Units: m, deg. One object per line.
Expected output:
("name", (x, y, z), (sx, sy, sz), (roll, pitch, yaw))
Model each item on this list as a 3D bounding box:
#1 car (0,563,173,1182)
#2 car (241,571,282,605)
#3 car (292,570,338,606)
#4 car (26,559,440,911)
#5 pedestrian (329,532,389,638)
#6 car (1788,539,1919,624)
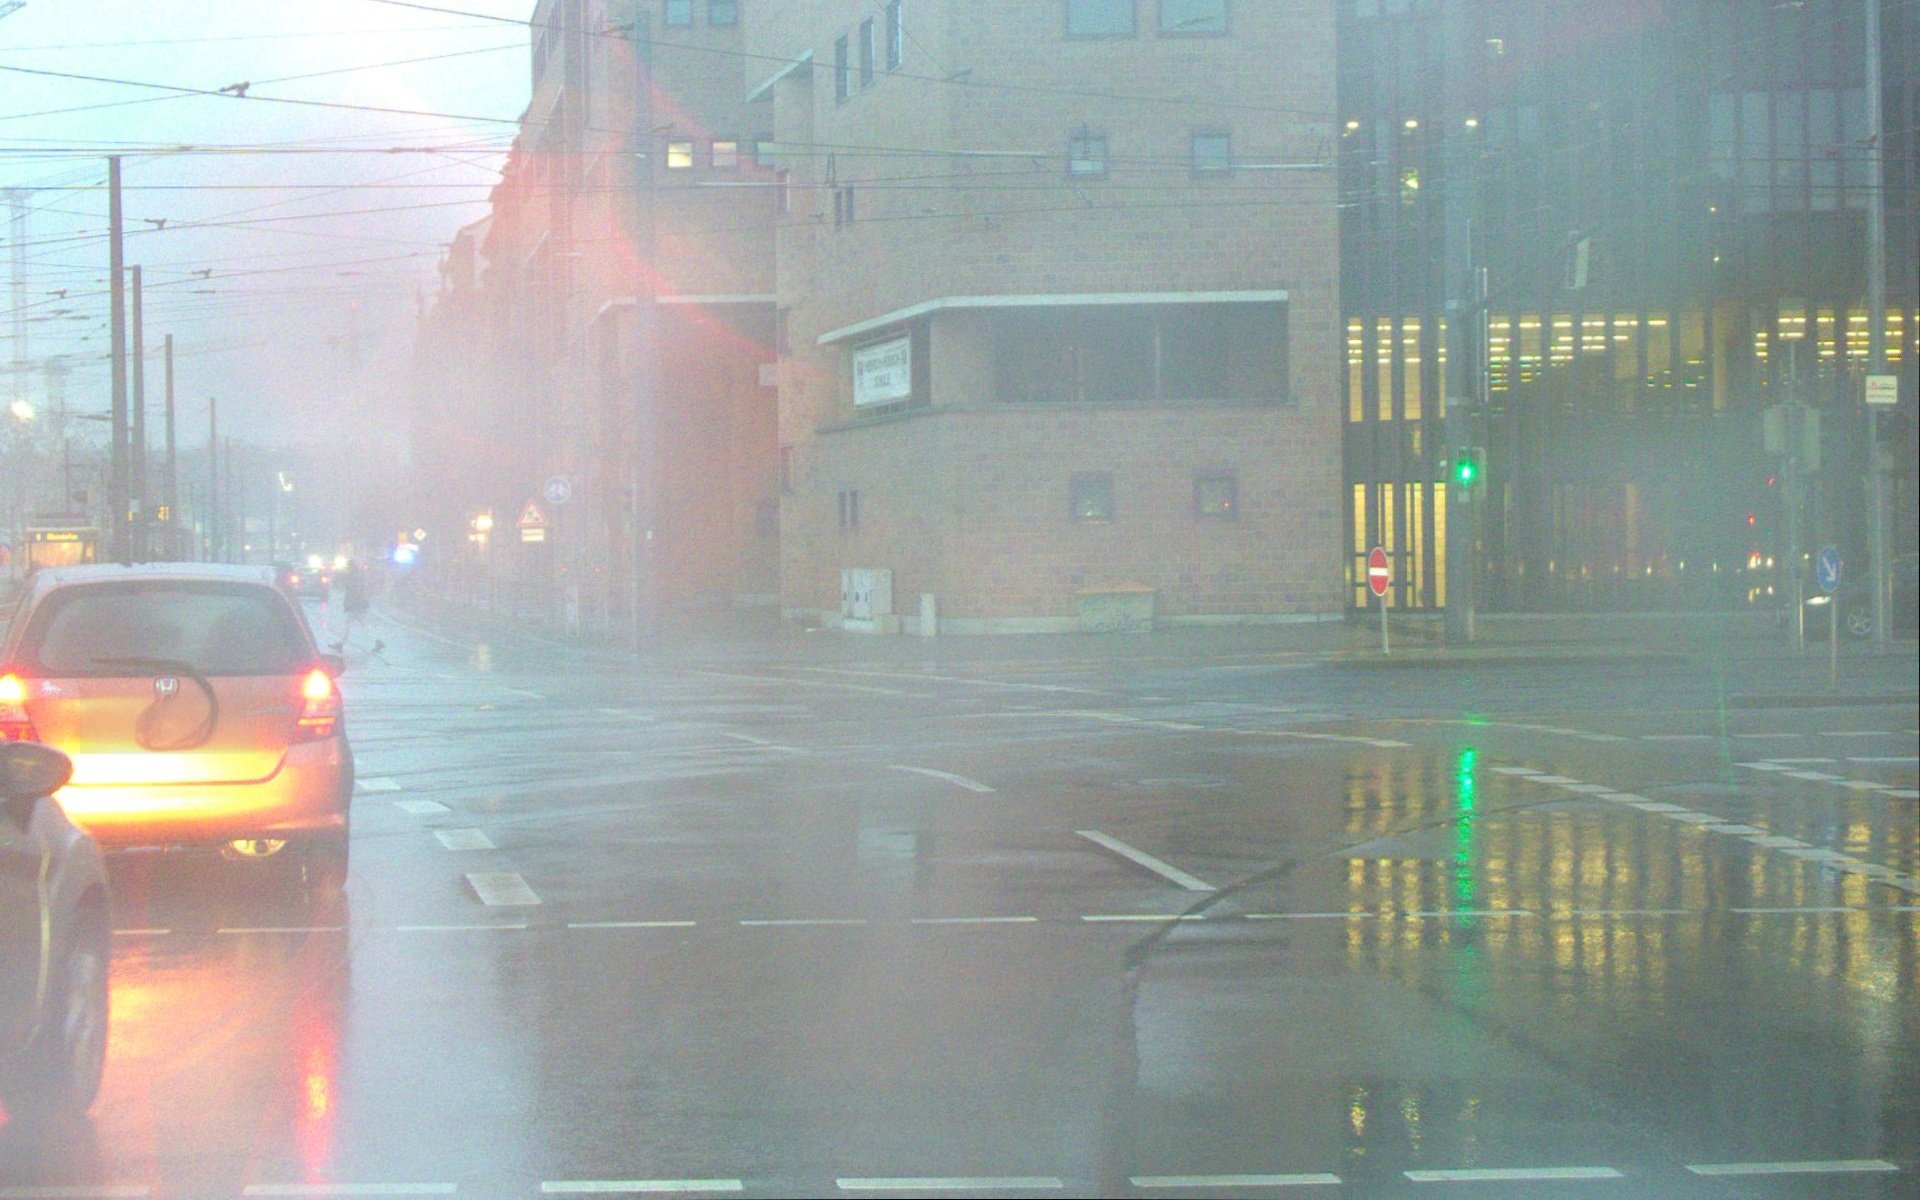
("car", (-3.112, 0.657, 7.701), (1.705, 1.443, 4.000), (-2, -1, 1))
("car", (-34.697, -0.606, 170.889), (1.870, 1.573, 4.001), (1, 1, -10))
("car", (-29.422, -0.556, 156.918), (1.870, 1.573, 4.001), (2, 1, -8))
("car", (-3.464, 0.547, 16.475), (1.697, 1.454, 3.758), (-1, 1, -12))
("pedestrian", (-11.598, -0.293, 66.369), (1.068, 2.007, 0.685), (-1, 1, -13))
("car", (15.693, -0.331, 55.720), (3.986, 1.305, 2.000), (-1, 1, -4))
